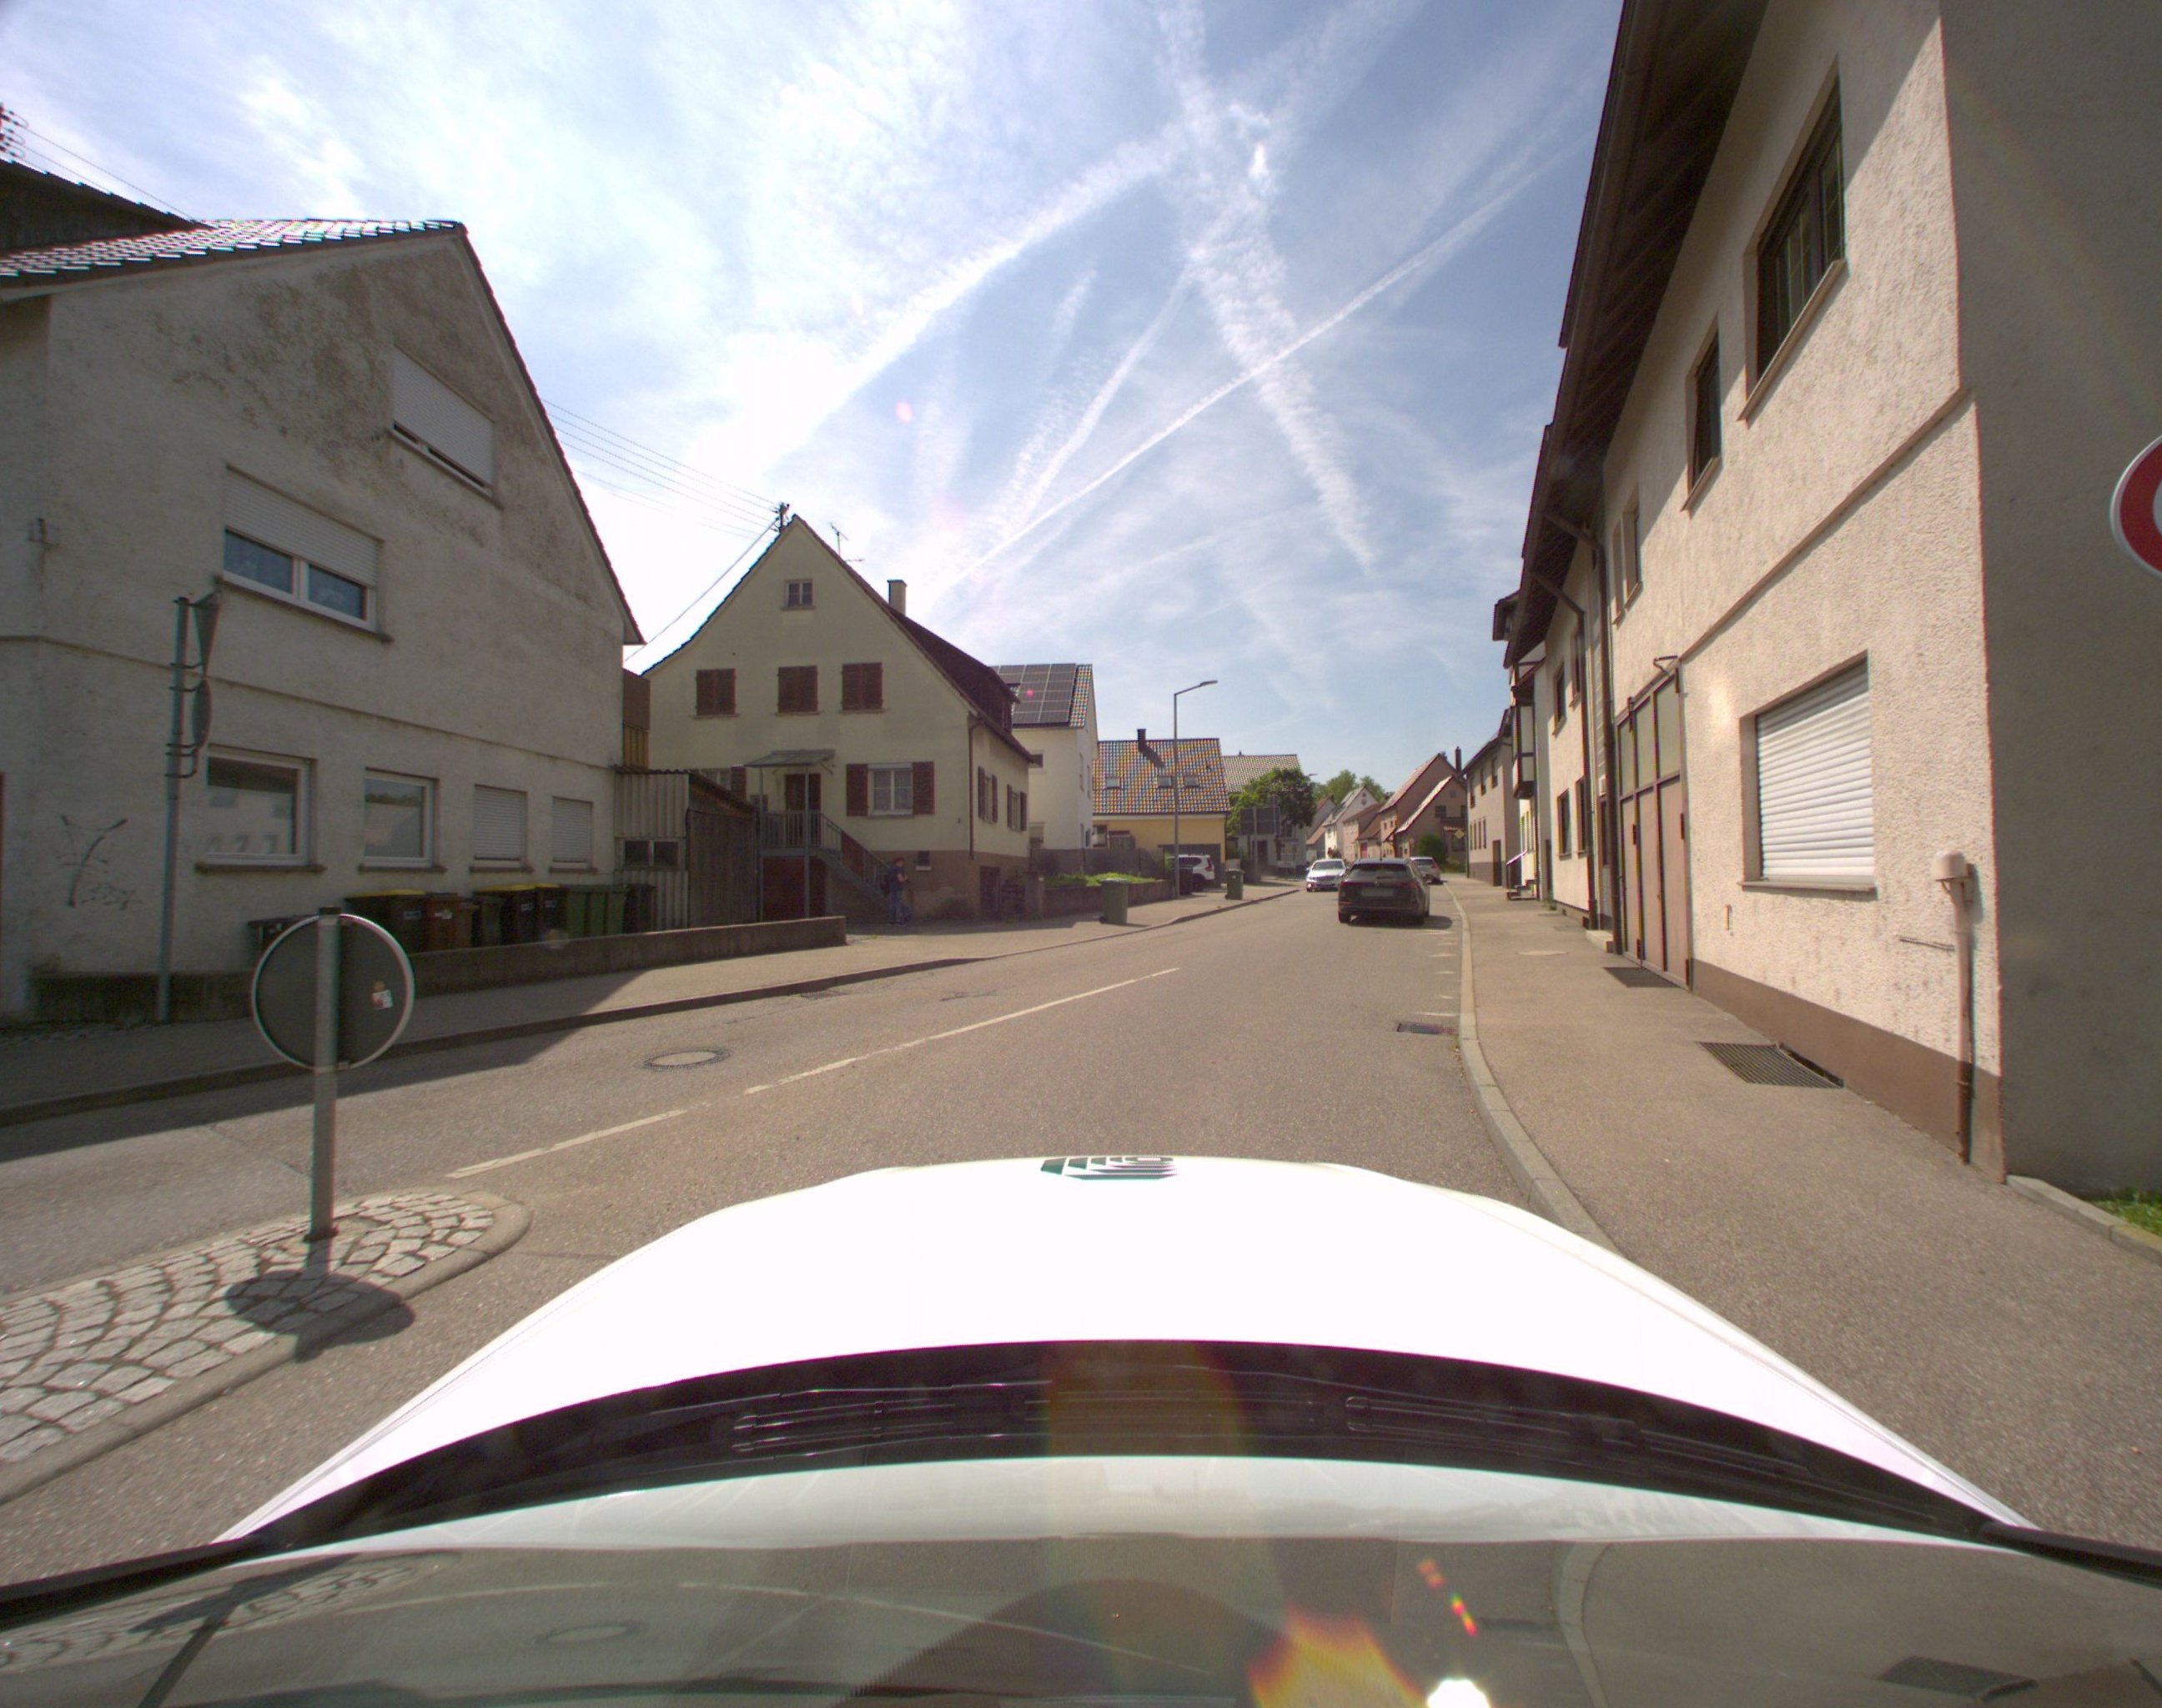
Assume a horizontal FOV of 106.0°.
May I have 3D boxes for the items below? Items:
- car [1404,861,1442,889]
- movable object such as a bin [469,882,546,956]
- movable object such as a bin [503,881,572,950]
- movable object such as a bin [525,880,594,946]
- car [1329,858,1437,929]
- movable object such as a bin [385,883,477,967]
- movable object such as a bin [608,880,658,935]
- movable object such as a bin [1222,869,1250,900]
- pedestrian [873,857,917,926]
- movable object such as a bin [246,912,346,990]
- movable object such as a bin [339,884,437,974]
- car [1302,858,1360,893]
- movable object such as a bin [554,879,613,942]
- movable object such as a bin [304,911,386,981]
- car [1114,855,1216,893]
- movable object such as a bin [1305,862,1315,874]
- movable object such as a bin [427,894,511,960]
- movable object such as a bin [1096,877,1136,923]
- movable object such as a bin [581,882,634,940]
[{"bbox_3d":[18.653,1.111,44.546,1.770,1.442,4.359,0,0,20],"label":"car"},{"bbox_3d":[-8.809,0.979,12.527,0.681,1.082,0.697,0,-1,-3],"label":"movable object such as a bin"},{"bbox_3d":[-8.802,0.984,13.210,0.681,1.082,0.625,0,-1,-3],"label":"movable object such as a bin"},{"bbox_3d":[-8.856,0.990,13.862,0.737,1.082,0.659,0,-1,-3],"label":"movable object such as a bin"},{"bbox_3d":[7.039,0.801,18.670,1.824,1.420,4.710,0,0,27],"label":"car"},{"bbox_3d":[-8.808,0.947,11.055,0.681,1.086,0.697,0,-1,-3],"label":"movable object such as a bin"},{"bbox_3d":[-8.656,1.026,15.739,0.627,1.034,0.612,0,-1,-3],"label":"movable object such as a bin"},{"bbox_3d":[5.538,1.083,29.118,0.818,1.077,0.822,0,0,24],"label":"movable object such as a bin"},{"bbox_3d":[-4.316,0.856,18.933,0.771,1.574,0.630,0,-1,15],"label":"pedestrian"},{"bbox_3d":[-8.800,1.073,9.151,0.483,0.805,0.646,0,-1,-1],"label":"movable object such as a bin"},{"bbox_3d":[-8.794,0.941,10.357,0.681,1.086,0.644,0,-1,-3],"label":"movable object such as a bin"},{"bbox_3d":[11.635,0.966,37.685,1.937,1.486,4.484,-3,-2,24],"label":"car"},{"bbox_3d":[-8.844,0.987,14.496,0.676,1.082,0.583,0,-1,-3],"label":"movable object such as a bin"},{"bbox_3d":[-8.805,1.094,9.758,0.484,0.780,0.527,0,-1,-3],"label":"movable object such as a bin"},{"bbox_3d":[3.808,0.903,36.565,4.373,1.623,2.006,-1,-1,11],"label":"car"},{"bbox_3d":[20.508,1.241,72.951,0.749,1.060,0.681,0,-1,11],"label":"movable object such as a bin"},{"bbox_3d":[-8.826,1.045,11.775,0.681,0.896,0.697,0,-1,-3],"label":"movable object such as a bin"},{"bbox_3d":[0.836,1.089,19.330,0.784,1.057,0.654,-1,-1,20],"label":"movable object such as a bin"},{"bbox_3d":[-8.764,1.051,15.096,0.626,1.035,0.603,0,-1,-3],"label":"movable object such as a bin"}]
